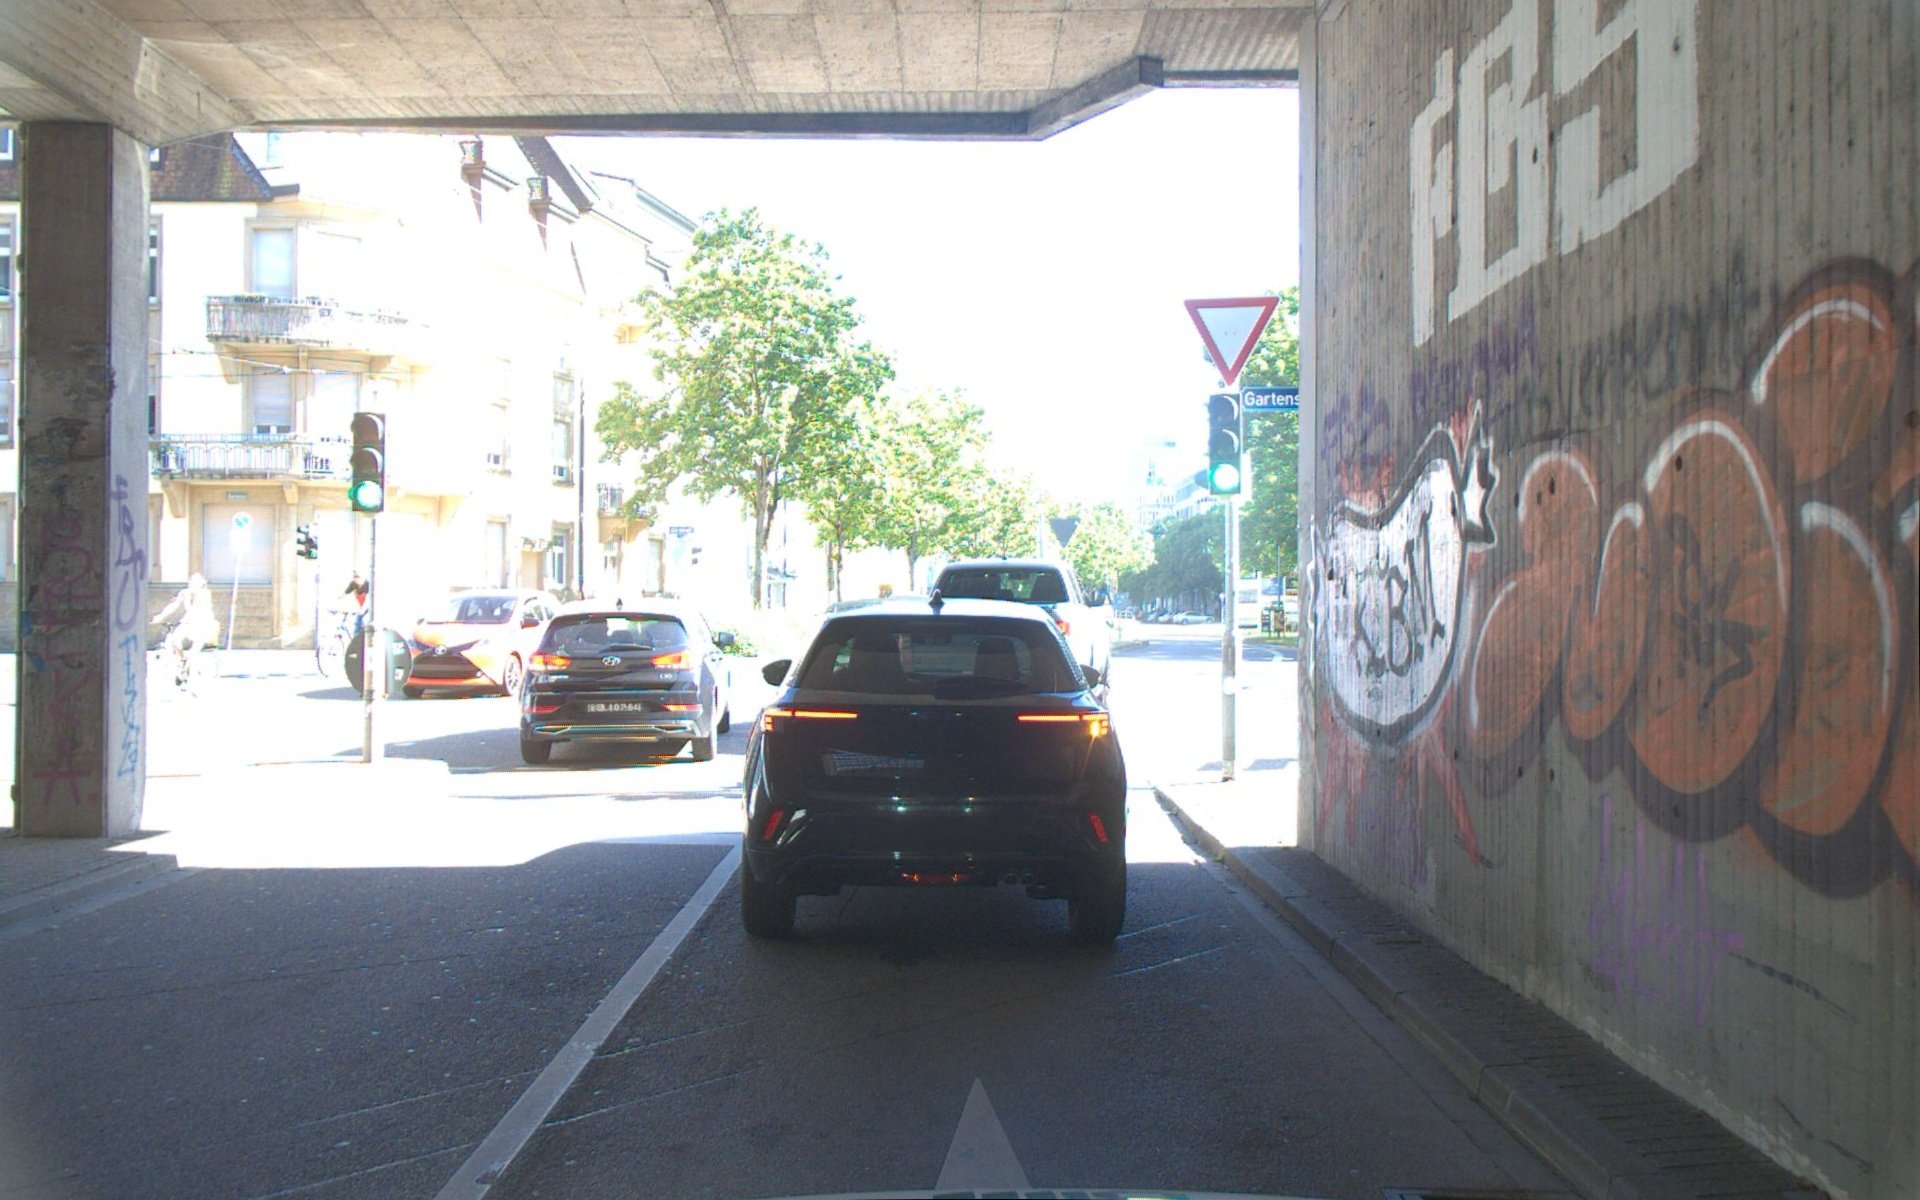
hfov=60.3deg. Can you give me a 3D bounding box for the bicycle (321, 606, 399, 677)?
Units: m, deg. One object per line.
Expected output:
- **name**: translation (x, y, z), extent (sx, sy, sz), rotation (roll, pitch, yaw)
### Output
- **bicycle**: translation (-10.226, 0.688, 28.238), extent (0.530, 1.142, 2.059), rotation (0, 0, 2)

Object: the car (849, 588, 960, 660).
- **car**: translation (-1.202, 0.517, 37.774), extent (1.750, 1.540, 4.119), rotation (0, 0, 10)

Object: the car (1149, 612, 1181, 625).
- **car**: translation (26.257, 2.345, 211.943), extent (3.865, 1.421, 1.516), rotation (-3, -1, 2)

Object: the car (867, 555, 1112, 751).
- **car**: translation (0.498, 0.513, 18.405), extent (2.087, 1.868, 4.944), rotation (0, 0, 9)

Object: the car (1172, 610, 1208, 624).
- **car**: translation (26.088, 1.975, 187.930), extent (3.865, 1.421, 1.516), rotation (-3, -1, 2)

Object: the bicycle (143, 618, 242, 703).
- **bicycle**: translation (-10.617, 0.809, 22.943), extent (0.515, 1.109, 1.860), rotation (0, 0, 0)

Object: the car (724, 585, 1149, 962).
- **car**: translation (-0.082, 0.719, 8.731), extent (1.745, 1.544, 3.755), rotation (1, 0, 0)

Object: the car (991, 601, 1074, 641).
- **car**: translation (4.793, 1.364, 109.816), extent (5.172, 2.590, 1.978), rotation (0, -1, -15)

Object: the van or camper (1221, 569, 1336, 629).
- **van or camper**: translation (17.331, -0.029, 90.303), extent (5.949, 2.980, 2.577), rotation (-3, -1, 10)

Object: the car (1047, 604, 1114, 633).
- **car**: translation (9.309, 1.431, 127.696), extent (4.820, 2.120, 1.971), rotation (0, -1, -24)

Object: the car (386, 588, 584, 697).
- **car**: translation (-6.863, 0.578, 24.228), extent (1.622, 1.466, 3.465), rotation (0, 0, 5)

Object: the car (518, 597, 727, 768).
- **car**: translation (-3.235, 0.713, 16.545), extent (1.767, 1.476, 4.318), rotation (0, 0, -8)

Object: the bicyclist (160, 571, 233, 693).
- **bicyclist**: translation (-10.621, 0.432, 23.024), extent (0.593, 1.661, 0.910), rotation (0, 0, 0)

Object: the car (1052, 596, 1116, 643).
- **car**: translation (4.385, 0.663, 58.020), extent (1.668, 1.539, 3.866), rotation (-2, -1, 12)

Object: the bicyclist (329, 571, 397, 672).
- **bicyclist**: translation (-10.202, 0.359, 28.299), extent (0.766, 1.689, 1.031), rotation (0, 0, 1)
